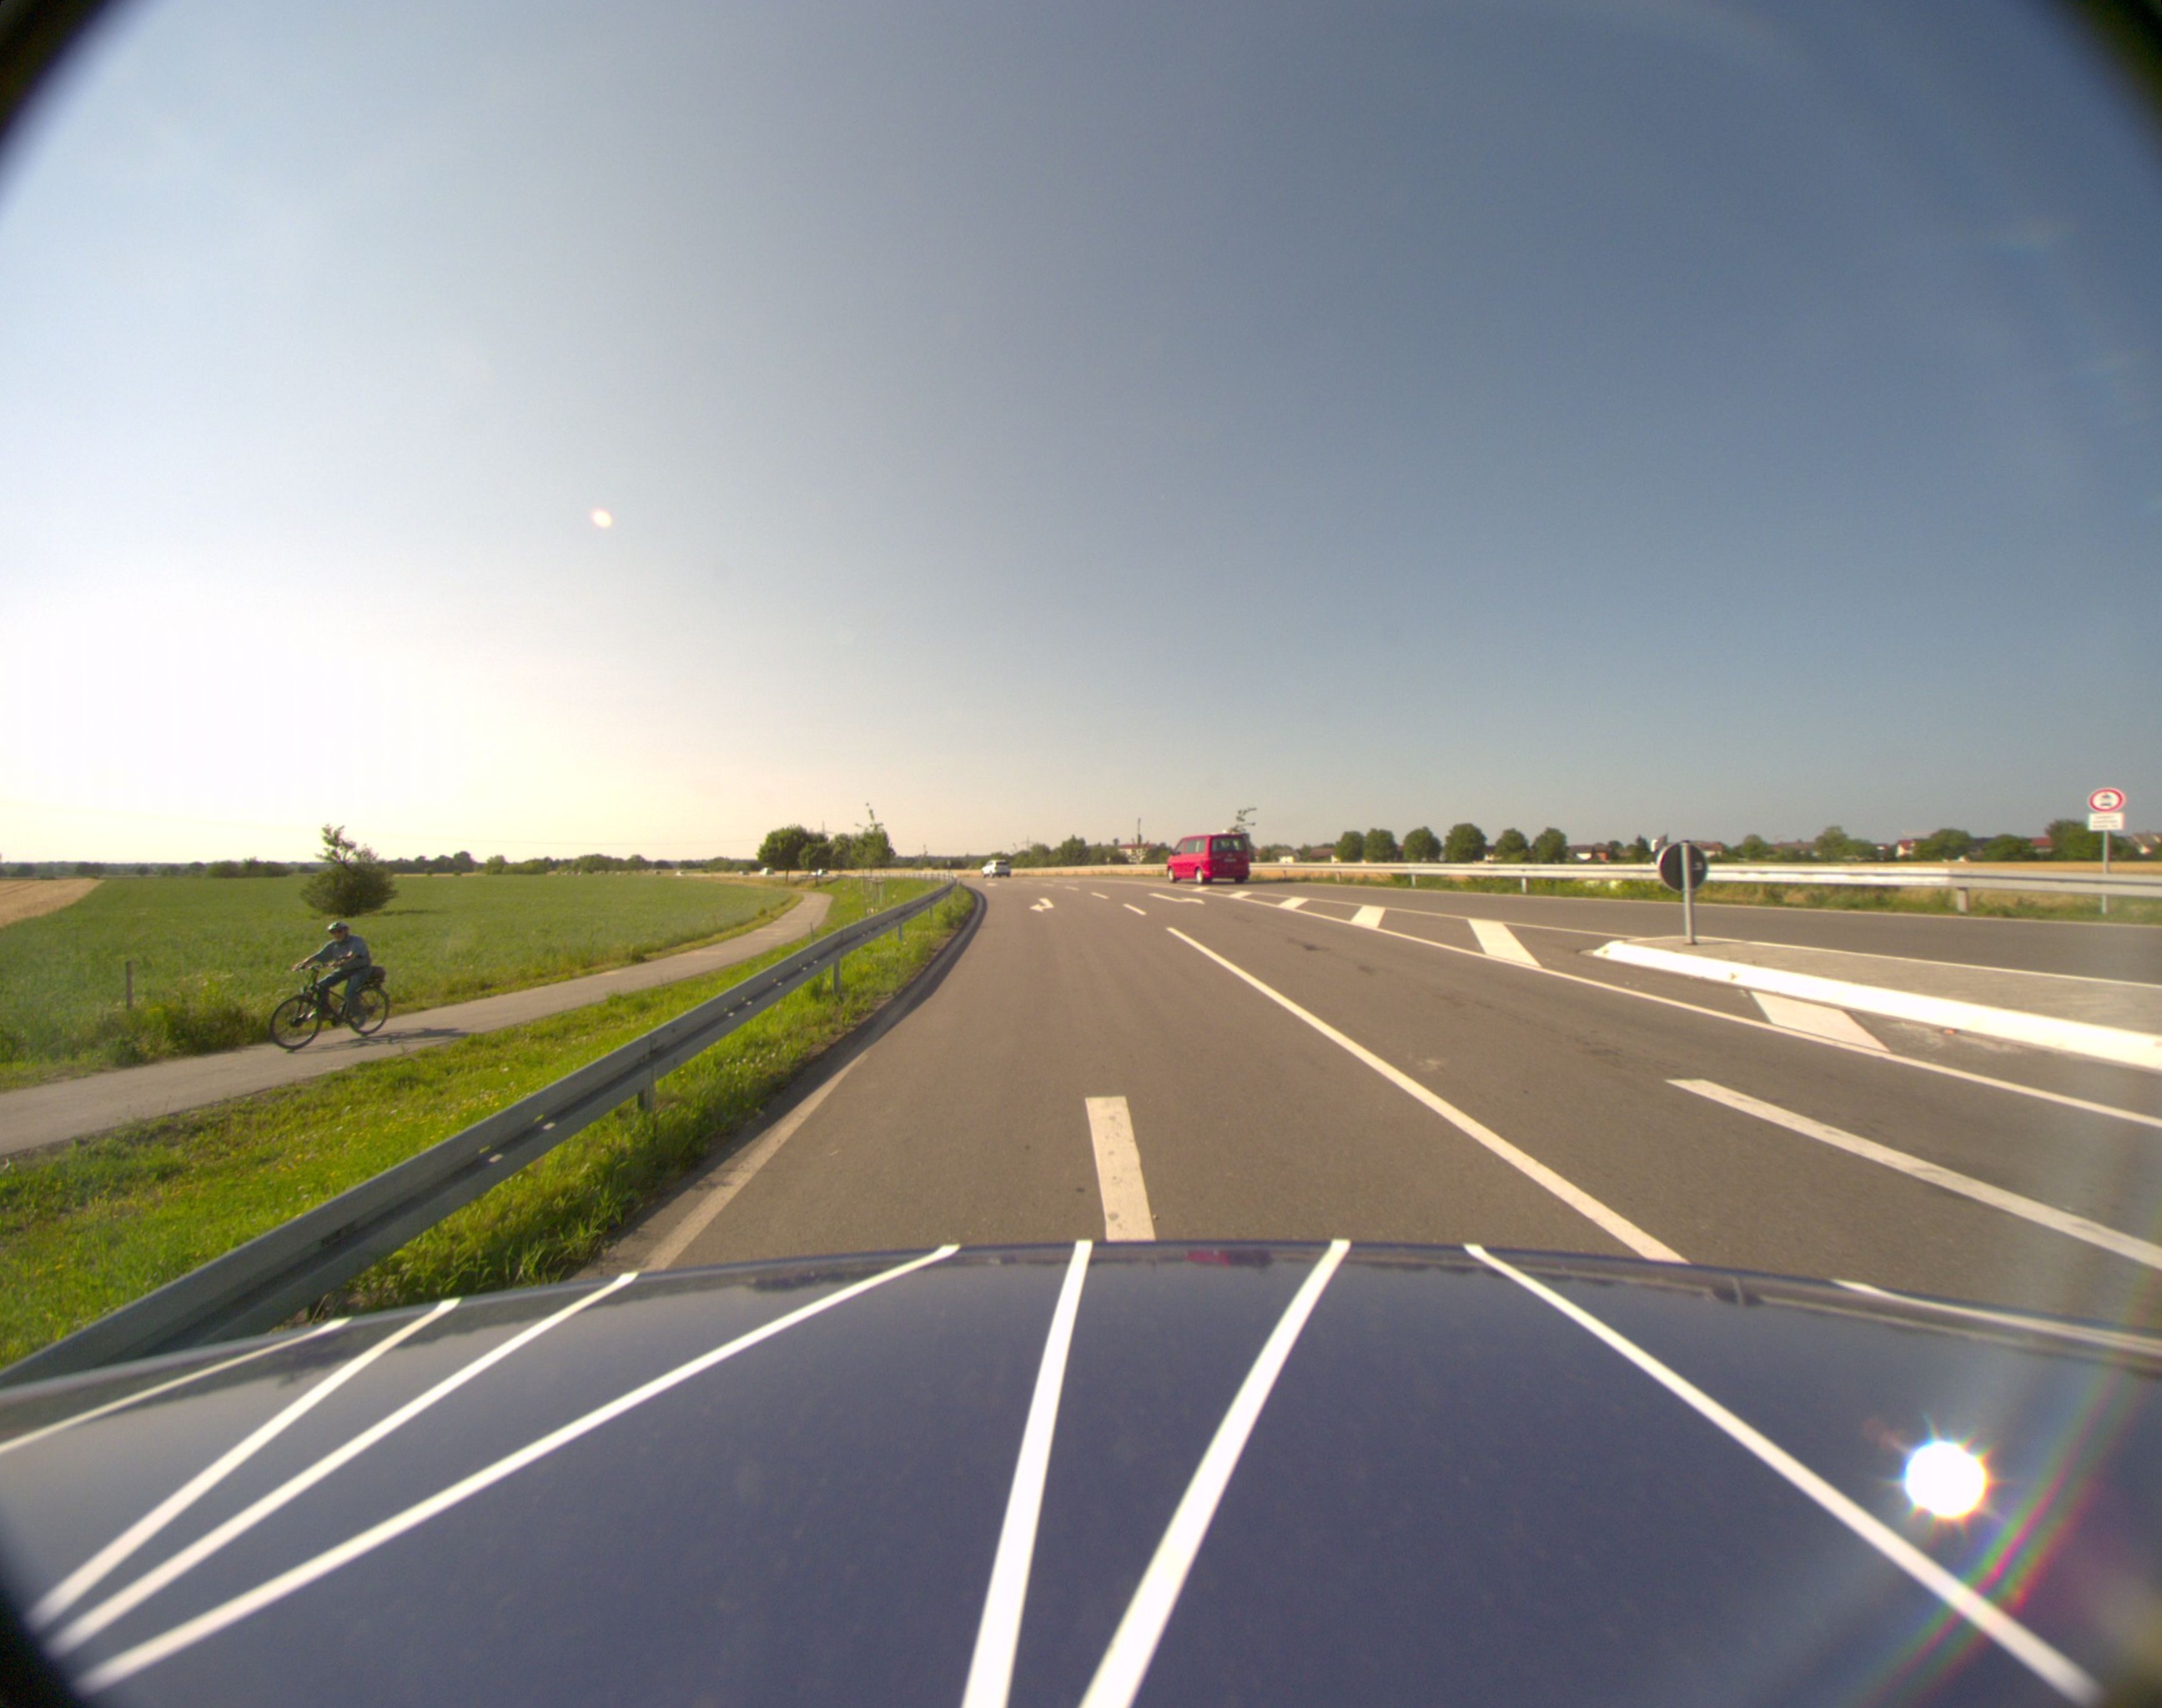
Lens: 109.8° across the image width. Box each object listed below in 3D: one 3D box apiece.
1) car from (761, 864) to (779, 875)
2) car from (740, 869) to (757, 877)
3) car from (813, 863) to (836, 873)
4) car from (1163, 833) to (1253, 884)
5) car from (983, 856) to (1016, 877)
[{"bbox_3d":[-65.587,3.179,160.318,2.125,2.001,5.142,-2,-2,-37],"label":"car"},{"bbox_3d":[-75.054,4.258,171.501,1.804,1.439,4.694,-2,-3,-45],"label":"car"},{"bbox_3d":[-46.232,2.479,136.976,2.126,1.484,5.141,-2,-2,-39],"label":"car"},{"bbox_3d":[5.135,0.202,31.445,1.840,1.929,4.921,-1,-1,-14],"label":"car"},{"bbox_3d":[-7.805,1.170,72.463,1.699,1.664,4.851,-2,4,-24],"label":"car"}]
